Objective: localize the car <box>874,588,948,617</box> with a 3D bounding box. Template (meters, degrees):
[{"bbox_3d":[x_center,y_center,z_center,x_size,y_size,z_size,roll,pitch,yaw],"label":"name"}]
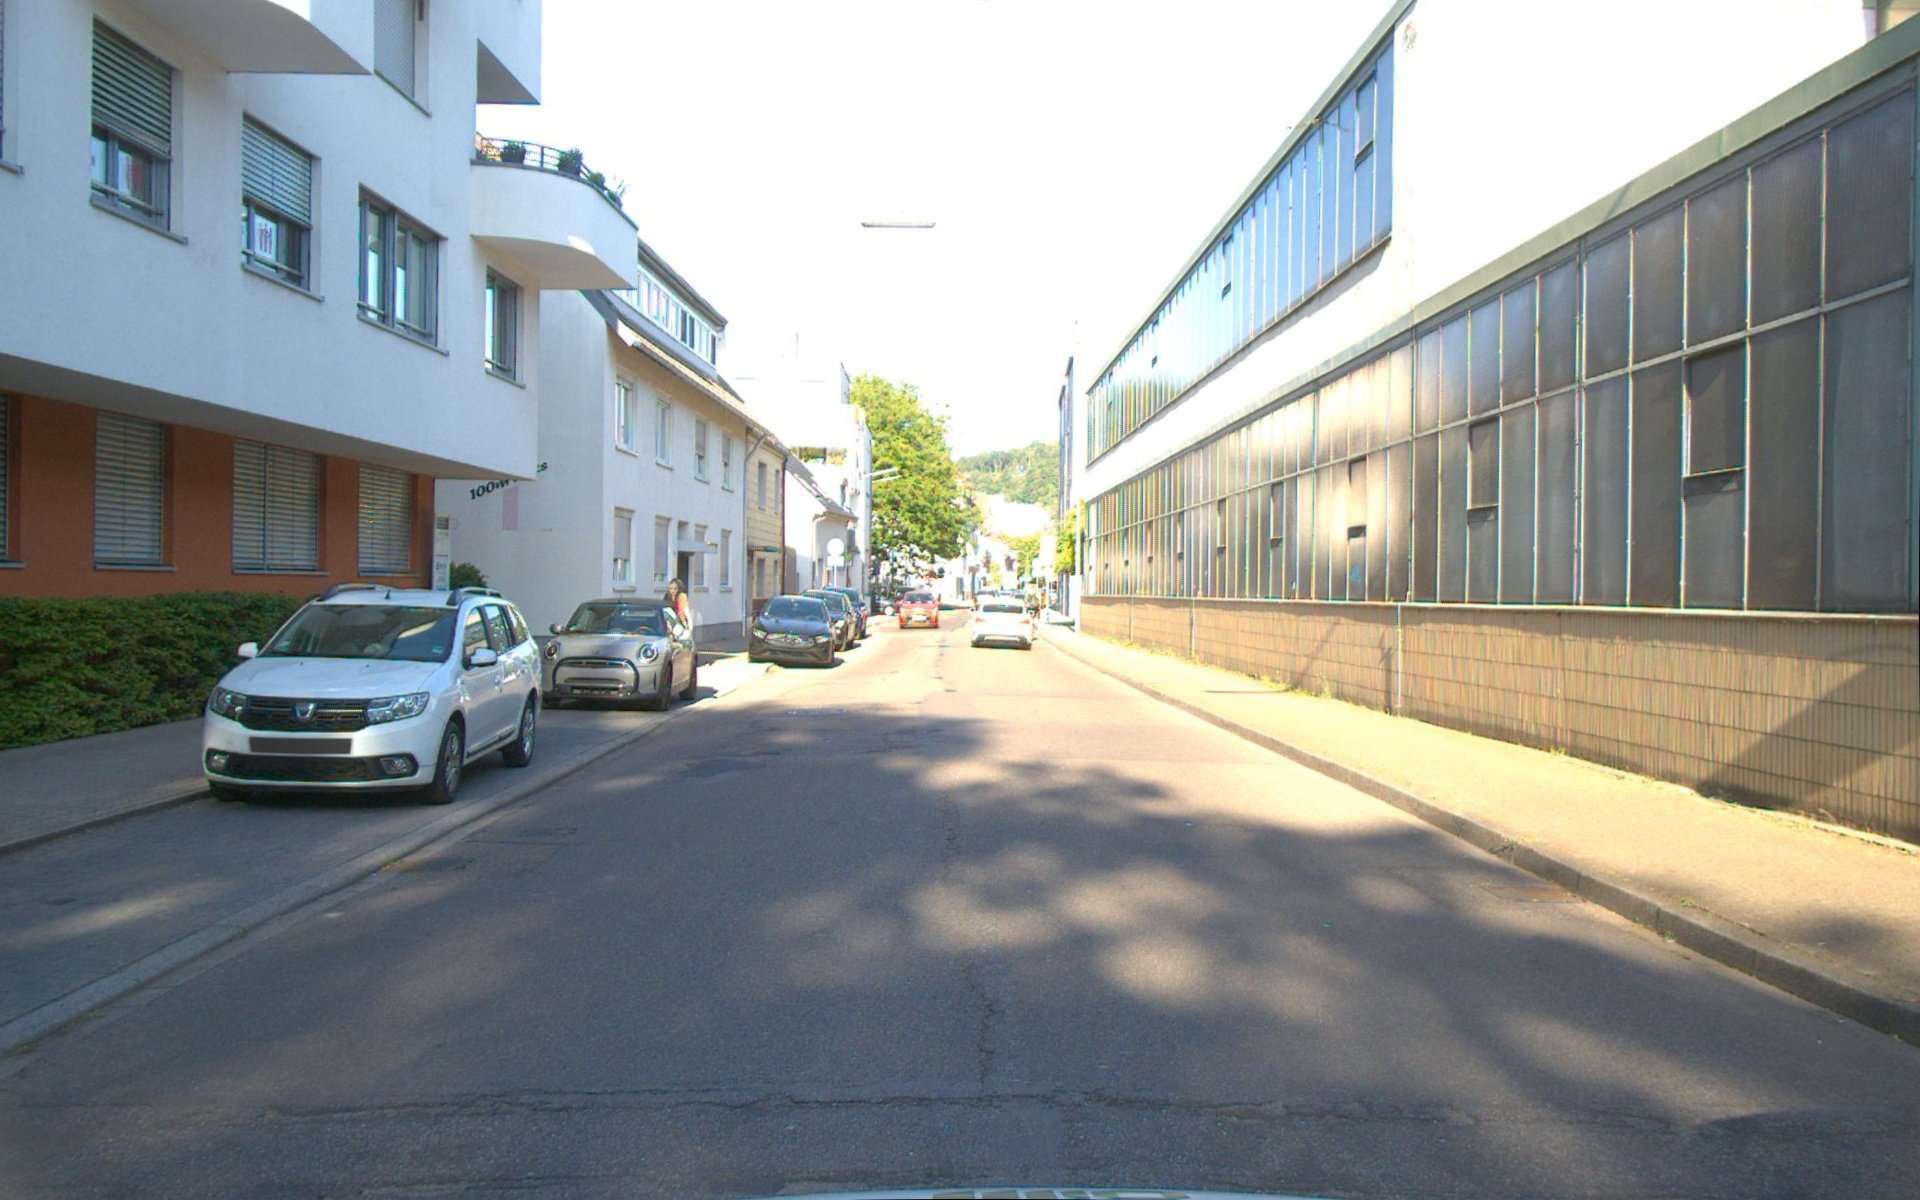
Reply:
[{"bbox_3d":[-2.853,0.141,96.453,4.043,1.517,1.849,2,0,6],"label":"car"}]

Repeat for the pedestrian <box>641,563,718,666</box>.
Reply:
[{"bbox_3d":[-5.280,0.275,31.184,0.844,1.850,1.131,5,1,23],"label":"pedestrian"}]

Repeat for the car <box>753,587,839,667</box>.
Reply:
[{"bbox_3d":[-3.503,0.552,35.917,1.651,1.562,4.331,3,0,-4],"label":"car"}]

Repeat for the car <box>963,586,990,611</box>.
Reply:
[{"bbox_3d":[1.238,-0.148,125.905,1.816,1.822,4.606,2,0,-2],"label":"car"}]

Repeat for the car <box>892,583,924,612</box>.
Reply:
[{"bbox_3d":[-3.427,-0.155,109.834,1.815,1.822,4.608,2,0,1],"label":"car"}]

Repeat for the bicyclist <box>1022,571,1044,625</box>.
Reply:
[{"bbox_3d":[2.471,-0.064,56.184,0.684,1.821,1.041,2,-1,1],"label":"bicyclist"}]

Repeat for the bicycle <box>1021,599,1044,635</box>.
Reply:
[{"bbox_3d":[2.451,0.571,56.119,0.684,1.150,2.403,2,0,1],"label":"bicycle"}]

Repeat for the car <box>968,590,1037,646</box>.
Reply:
[{"bbox_3d":[1.201,0.506,48.555,1.805,1.517,4.143,2,0,-1],"label":"car"}]

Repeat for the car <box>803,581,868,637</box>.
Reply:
[{"bbox_3d":[-4.086,0.257,54.663,1.772,1.614,4.193,3,2,0],"label":"car"}]

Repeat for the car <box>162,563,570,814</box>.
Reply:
[{"bbox_3d":[-4.562,0.607,13.512,1.821,1.614,4.618,3,0,-3],"label":"car"}]

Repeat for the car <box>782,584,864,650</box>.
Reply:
[{"bbox_3d":[-3.781,0.437,46.184,1.820,1.614,4.336,3,1,0],"label":"car"}]

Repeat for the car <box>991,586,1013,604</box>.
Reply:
[{"bbox_3d":[3.759,-0.441,147.124,1.804,1.517,4.145,2,0,2],"label":"car"}]

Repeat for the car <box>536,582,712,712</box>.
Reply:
[{"bbox_3d":[-4.545,0.603,22.882,1.634,1.562,3.856,3,0,-1],"label":"car"}]

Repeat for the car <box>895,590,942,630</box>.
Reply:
[{"bbox_3d":[-1.658,0.414,67.042,1.804,1.517,4.143,2,0,-1],"label":"car"}]

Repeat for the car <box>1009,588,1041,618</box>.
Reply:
[{"bbox_3d":[3.633,0.147,92.740,1.596,1.615,4.069,-2,0,0],"label":"car"}]
